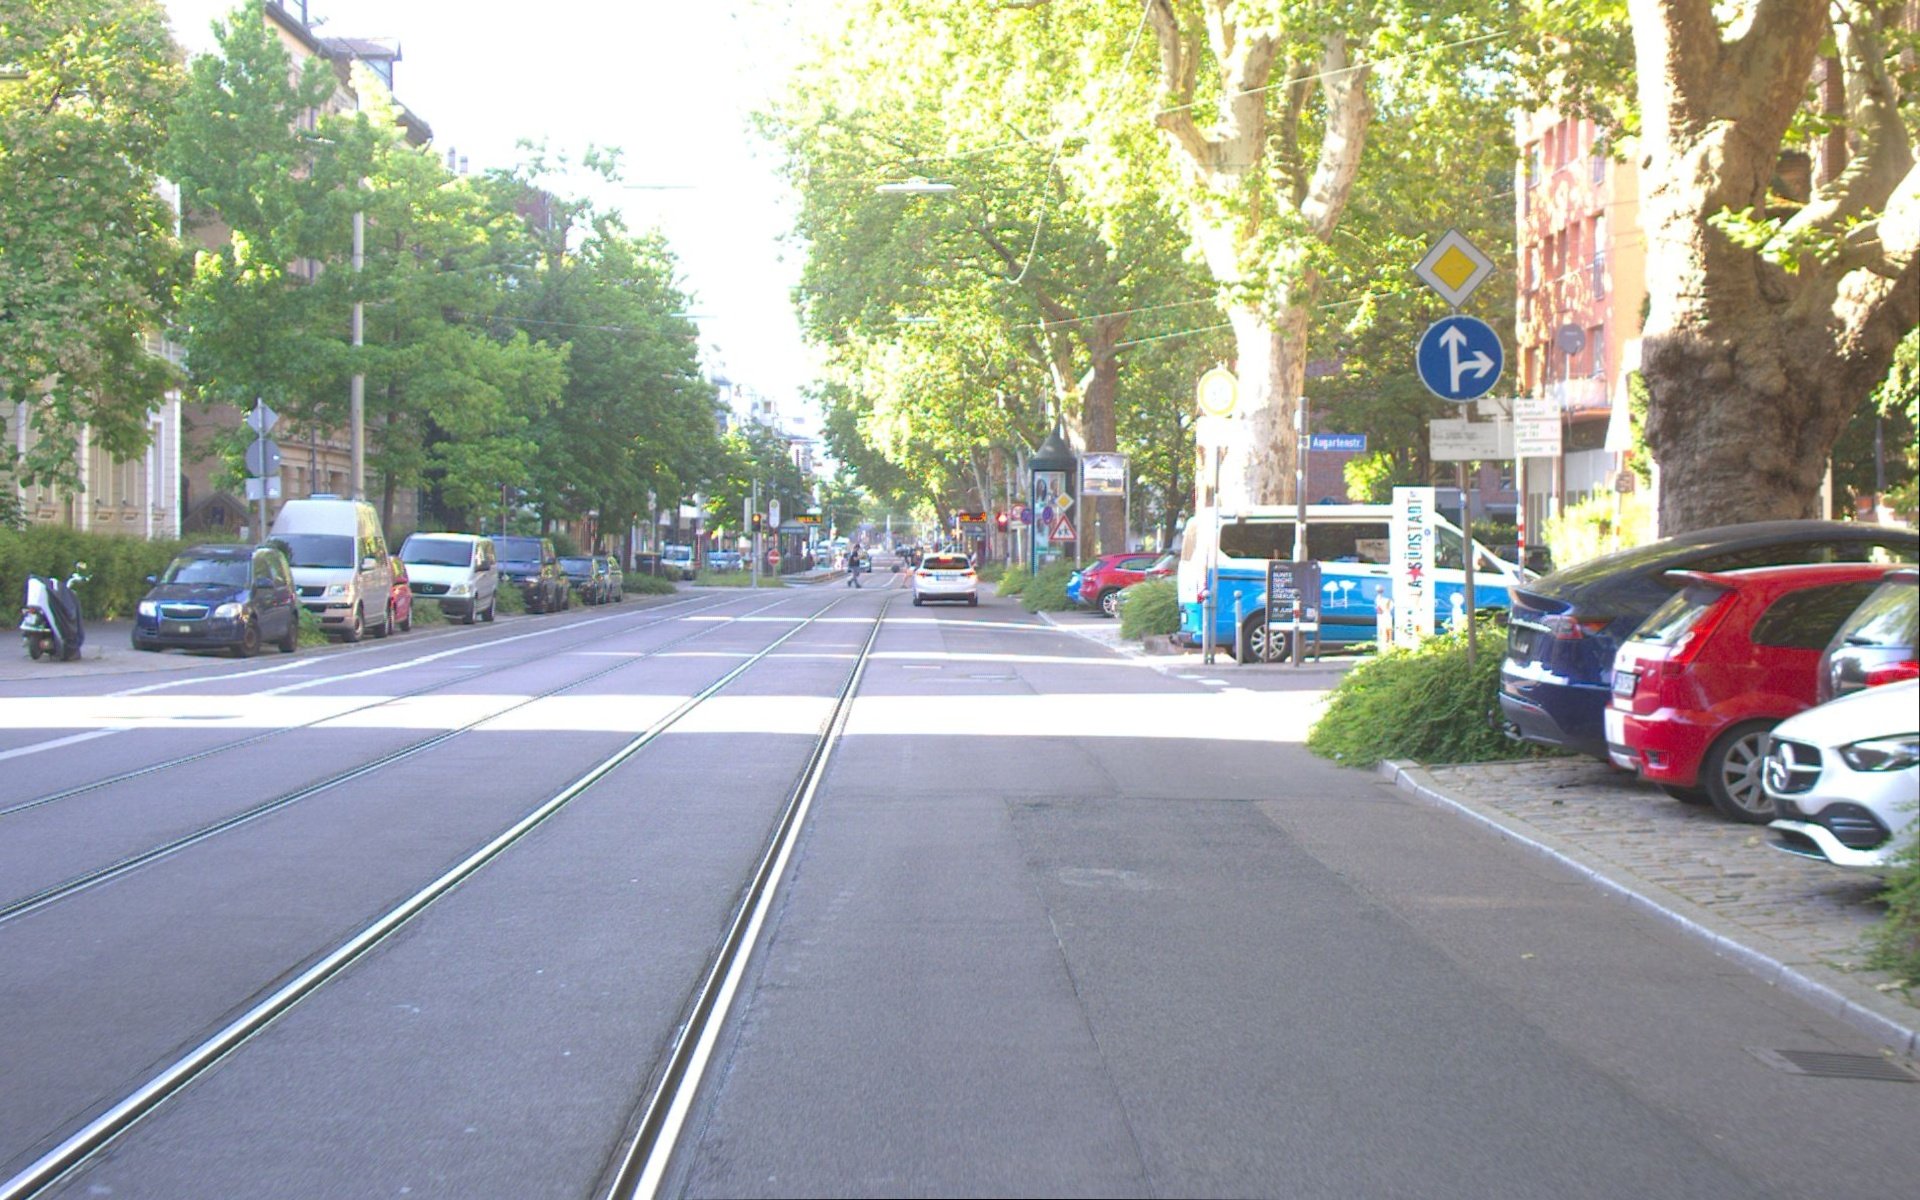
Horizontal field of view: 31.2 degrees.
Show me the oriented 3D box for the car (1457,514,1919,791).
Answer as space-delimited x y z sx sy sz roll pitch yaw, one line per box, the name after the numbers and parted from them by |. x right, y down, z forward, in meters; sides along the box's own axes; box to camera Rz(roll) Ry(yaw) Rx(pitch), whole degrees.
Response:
5.265 0.294 21.690 3.923 1.664 1.961 0 1 -2 | car

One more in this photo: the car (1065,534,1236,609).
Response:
4.546 -0.689 82.521 3.987 1.778 2.000 0 1 0 | car

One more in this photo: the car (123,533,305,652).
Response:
-10.867 -0.145 50.349 1.787 1.581 4.344 3 1 -2 | car

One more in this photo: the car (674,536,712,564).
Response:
-14.720 -2.733 189.426 1.918 1.414 3.591 -2 0 -6 | car

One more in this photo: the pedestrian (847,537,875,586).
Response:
-4.085 -1.592 142.025 1.048 2.007 1.081 0 1 3 | pedestrian

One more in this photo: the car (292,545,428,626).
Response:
-11.295 -0.294 64.946 1.876 1.455 4.207 0 1 -1 | car

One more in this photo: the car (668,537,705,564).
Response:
-14.715 -2.673 185.180 1.918 1.414 3.591 0 1 -3 | car

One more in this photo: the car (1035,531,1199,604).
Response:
3.901 -0.827 85.779 3.987 1.778 2.000 0 1 0 | car

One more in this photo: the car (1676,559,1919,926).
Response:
5.586 0.552 14.602 4.686 1.441 1.892 0 1 0 | car

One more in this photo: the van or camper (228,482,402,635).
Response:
-11.109 -0.733 59.574 2.079 2.524 5.318 0 1 -1 | van or camper

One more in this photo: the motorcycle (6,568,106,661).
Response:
-12.136 0.180 46.233 0.763 1.103 2.330 0 3 -1 | motorcycle

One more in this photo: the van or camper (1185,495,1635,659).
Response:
5.911 -0.339 45.601 5.554 2.006 2.245 0 4 -5 | van or camper

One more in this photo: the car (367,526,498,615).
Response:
-11.368 -0.658 74.354 2.173 1.854 4.659 0 1 -1 | car

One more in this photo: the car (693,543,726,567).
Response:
-15.101 -2.736 207.277 1.918 1.414 3.591 0 1 -3 | car

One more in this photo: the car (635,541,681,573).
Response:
-13.413 -1.921 152.747 1.918 1.414 3.721 0 1 -3 | car

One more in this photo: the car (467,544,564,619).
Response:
-11.433 -0.498 88.674 1.993 1.854 4.179 0 1 -1 | car

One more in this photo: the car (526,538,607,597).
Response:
-11.944 -1.018 104.591 1.993 1.739 4.659 0 1 -1 | car

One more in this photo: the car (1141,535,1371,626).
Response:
5.321 -0.366 62.165 3.987 1.603 2.000 0 1 0 | car

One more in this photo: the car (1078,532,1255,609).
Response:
4.800 -0.700 80.238 3.987 1.778 2.000 0 1 0 | car

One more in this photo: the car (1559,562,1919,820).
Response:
5.385 0.479 19.469 3.650 1.373 1.890 0 1 0 | car

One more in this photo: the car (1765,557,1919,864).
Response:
6.146 0.507 17.059 3.882 1.430 1.754 0 1 0 | car

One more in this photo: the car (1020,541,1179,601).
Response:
3.554 -0.748 88.085 3.987 1.515 2.000 0 1 0 | car

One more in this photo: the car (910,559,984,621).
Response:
-0.380 -0.298 93.221 1.918 1.579 3.791 -1 1 -1 | car
